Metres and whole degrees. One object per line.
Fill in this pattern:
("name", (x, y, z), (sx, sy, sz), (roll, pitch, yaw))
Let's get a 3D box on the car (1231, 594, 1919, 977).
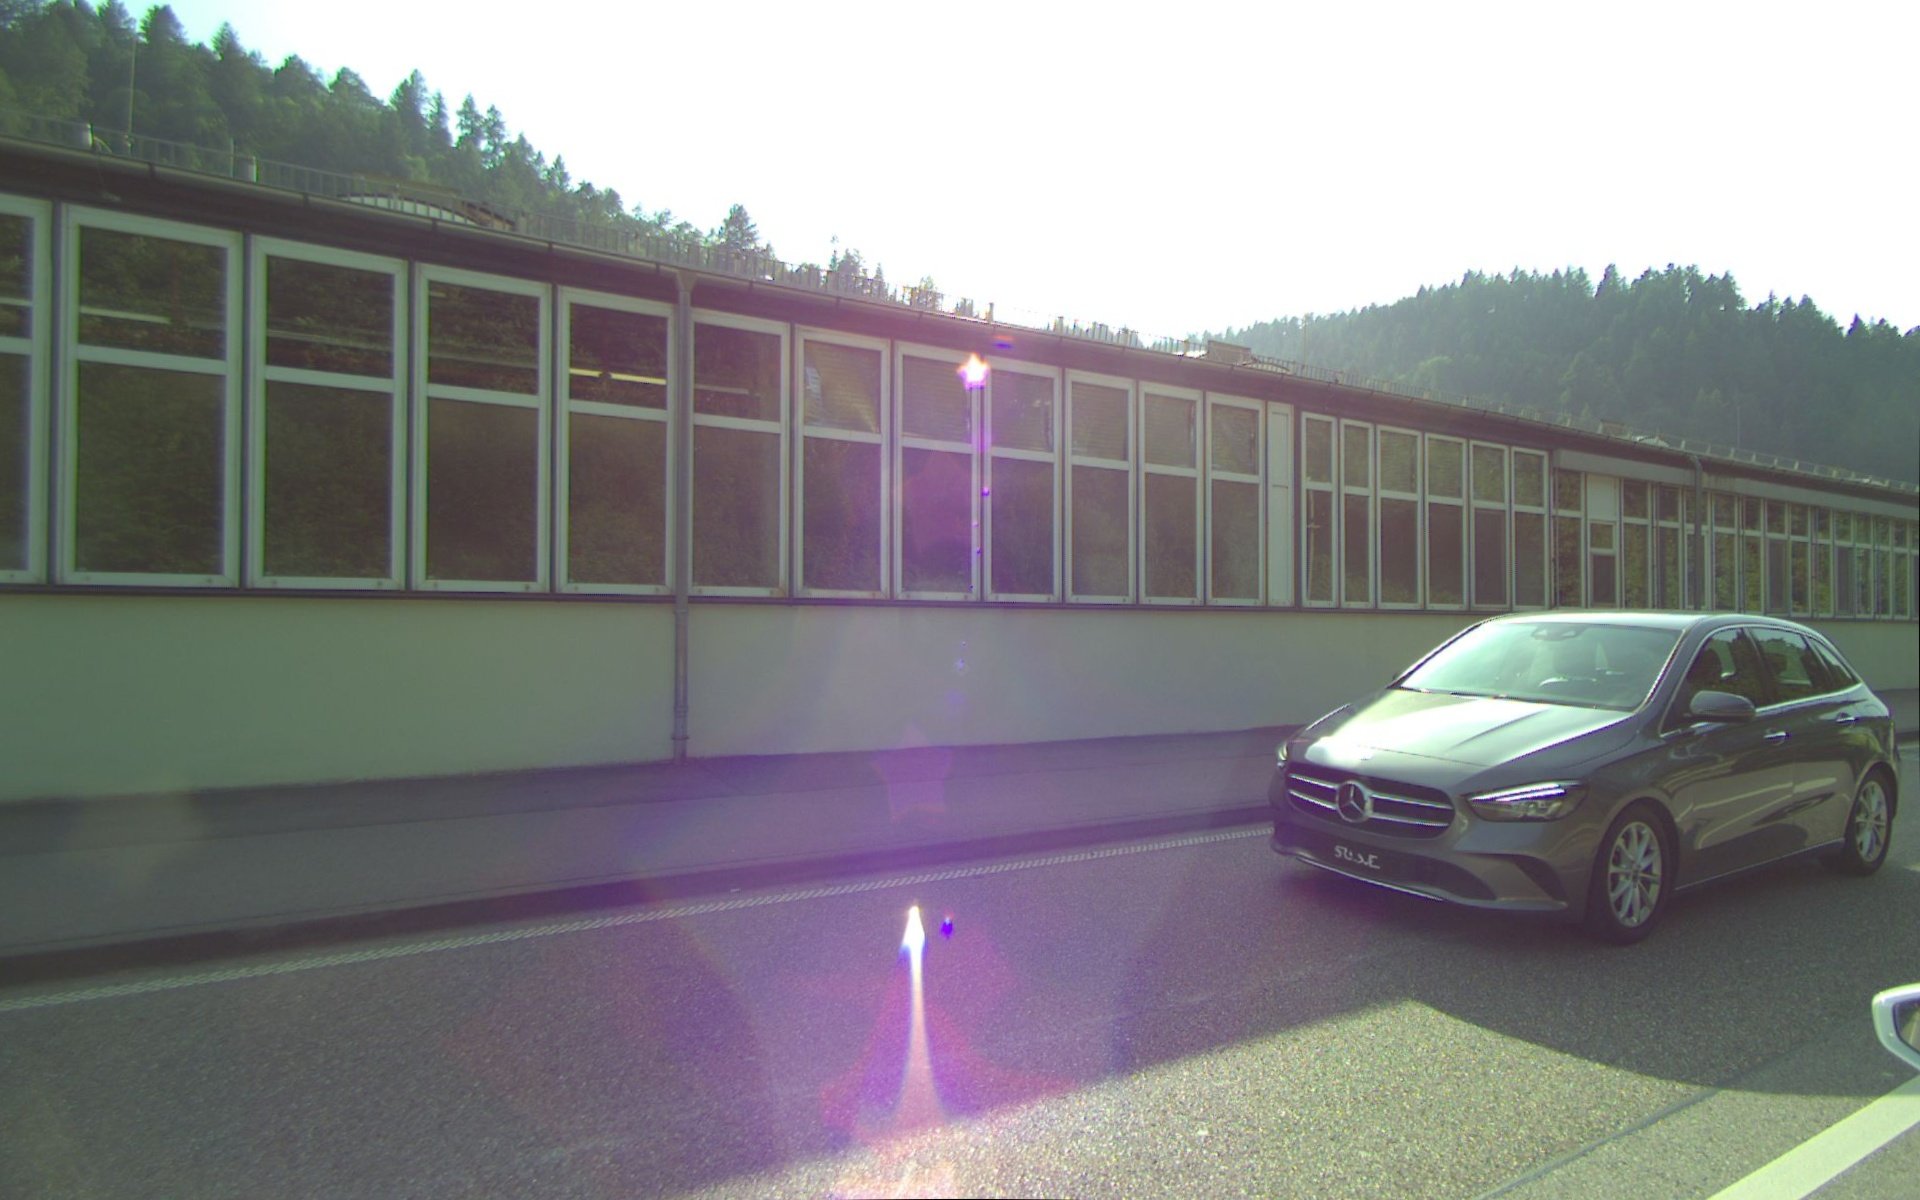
("car", (3.726, 0.790, 5.871), (4.149, 1.534, 1.711), (1, 0, -30))
